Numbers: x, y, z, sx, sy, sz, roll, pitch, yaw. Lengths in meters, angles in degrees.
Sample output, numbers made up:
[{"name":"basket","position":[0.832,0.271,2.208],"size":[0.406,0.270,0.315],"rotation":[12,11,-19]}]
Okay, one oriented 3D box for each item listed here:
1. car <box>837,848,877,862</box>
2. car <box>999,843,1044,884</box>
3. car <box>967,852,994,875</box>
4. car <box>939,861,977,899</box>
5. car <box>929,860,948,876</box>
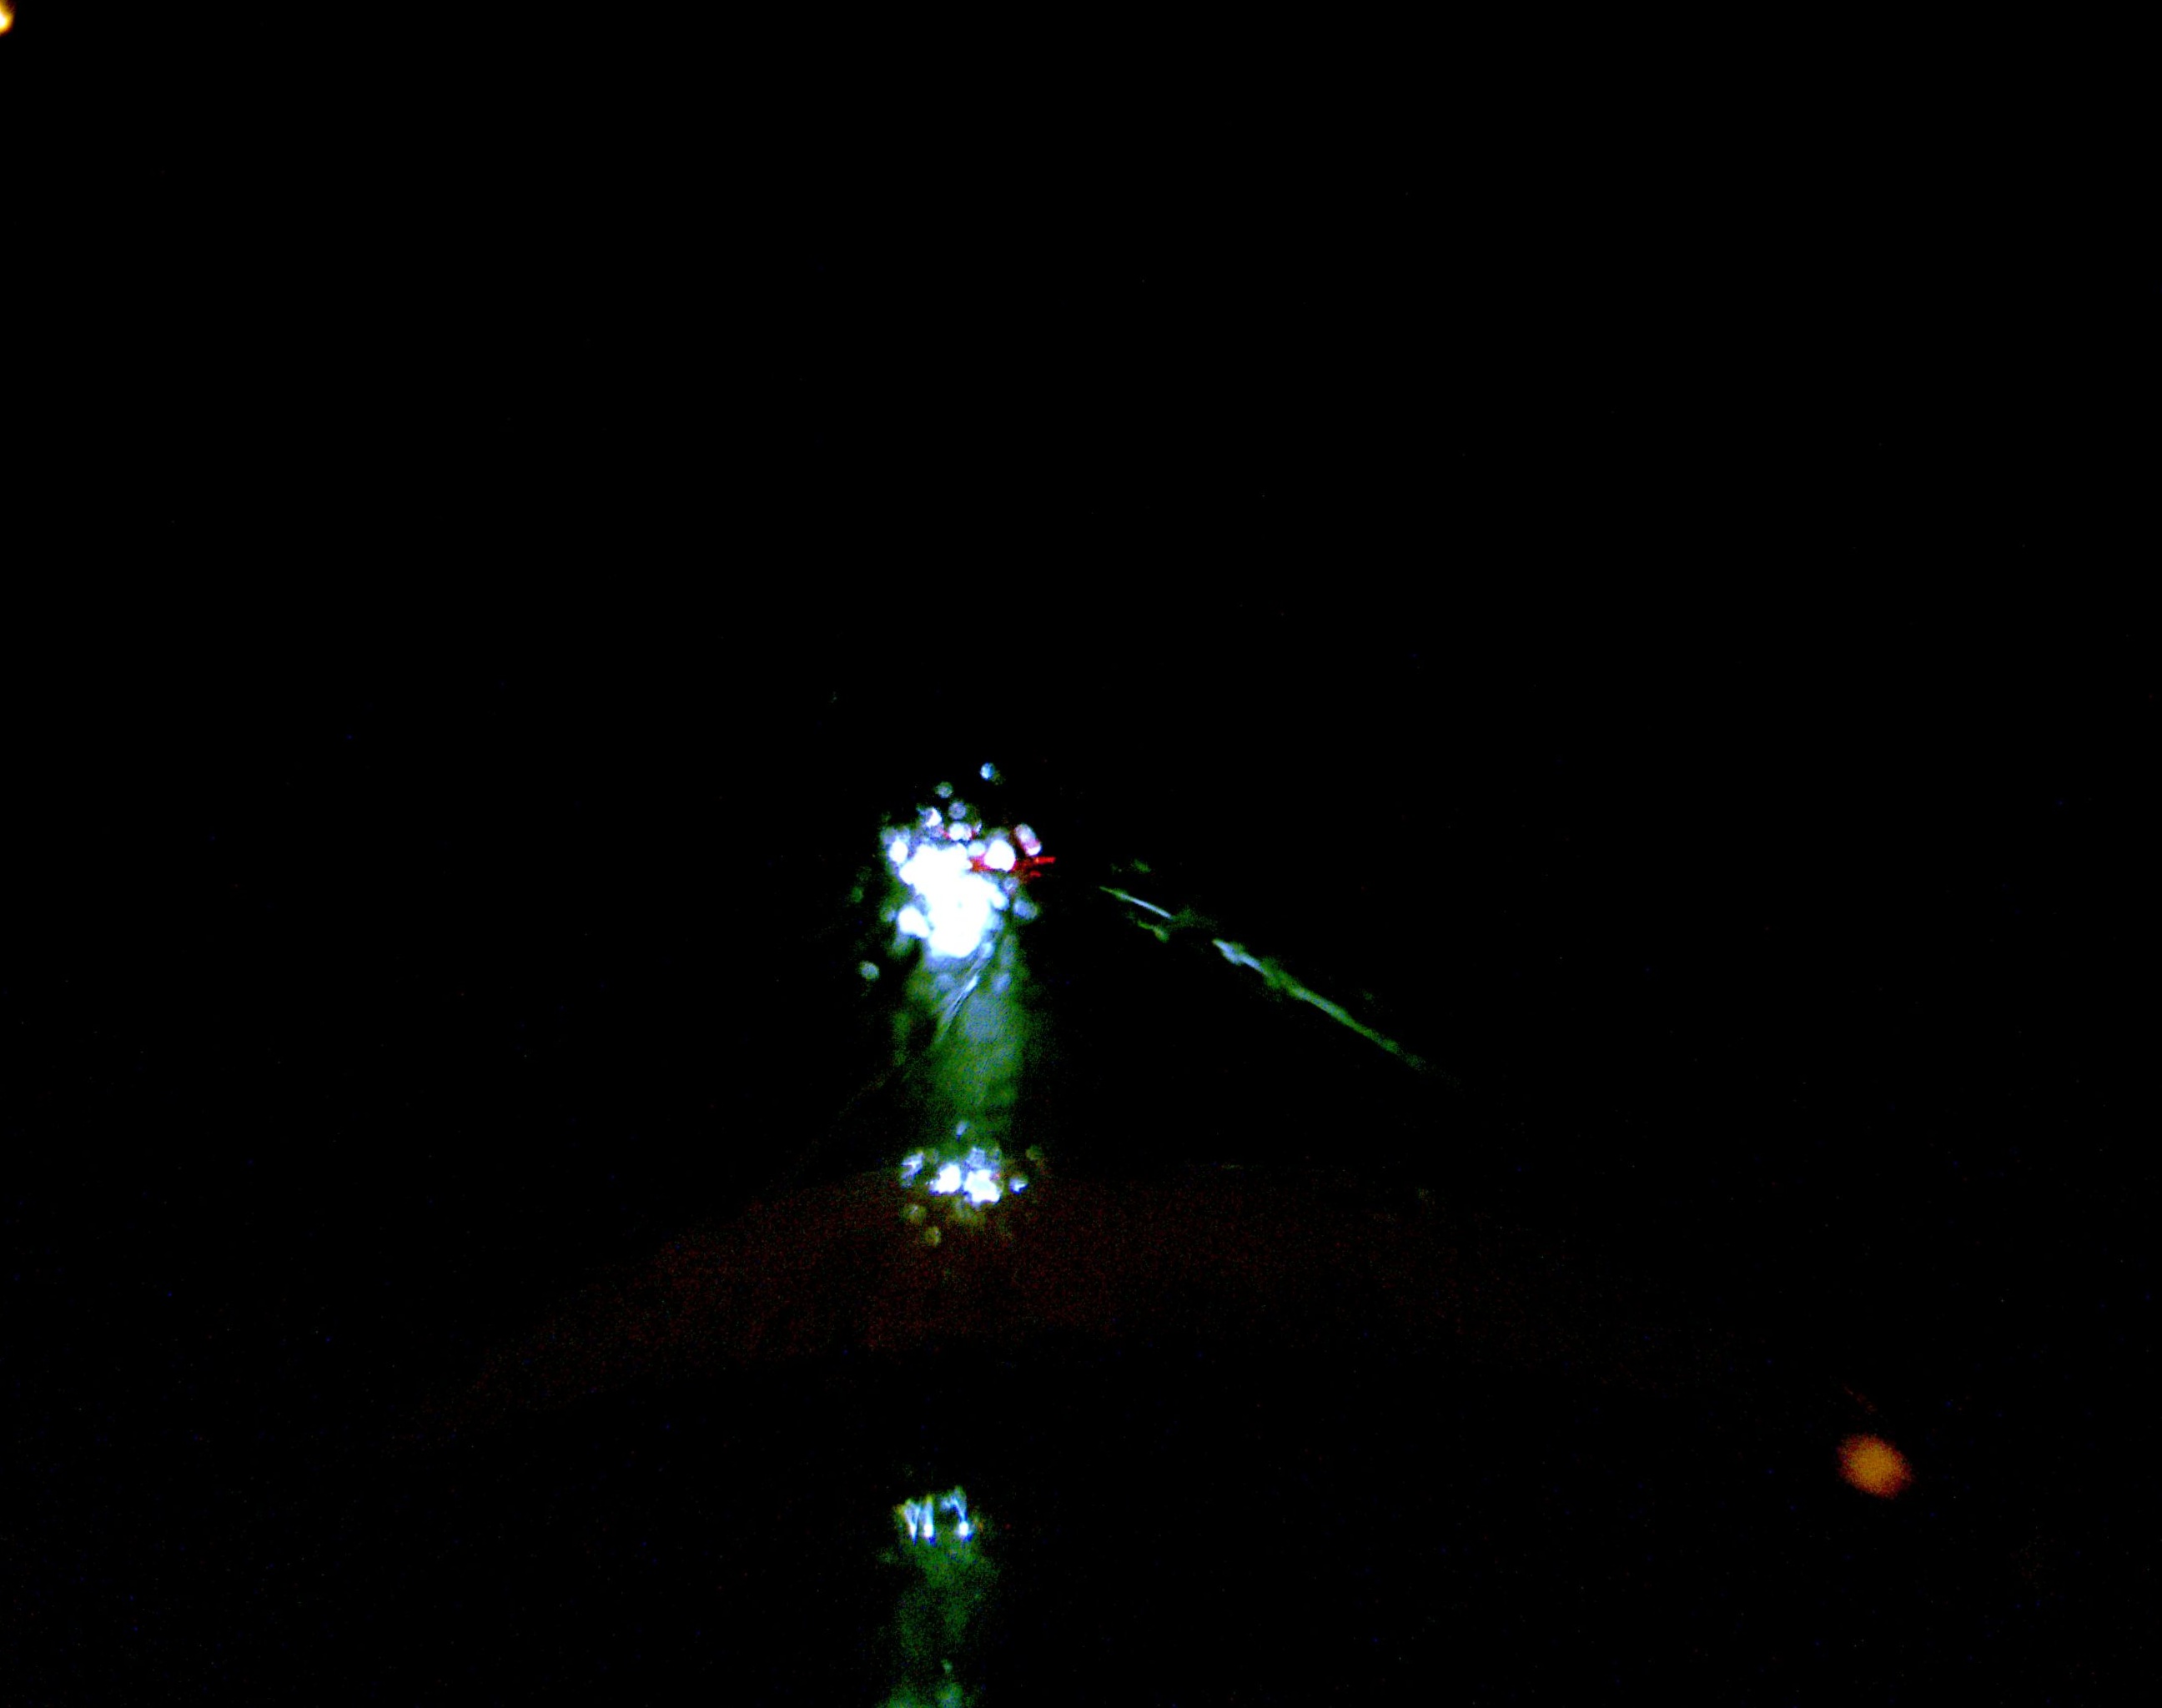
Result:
[{"name":"car","position":[-29.617,0.130,107.736],"size":[4.927,1.734,1.987],"rotation":[-1,0,-19]},{"name":"car","position":[-3.941,0.568,52.924],"size":[2.537,2.498,5.700],"rotation":[-1,1,-7]},{"name":"car","position":[-9.758,0.927,78.776],"size":[1.998,2.014,3.977],"rotation":[2,-3,-16]},{"name":"car","position":[-7.060,1.509,47.148],"size":[1.991,2.014,4.833],"rotation":[1,-2,-7]},{"name":"car","position":[-14.388,1.358,82.009],"size":[1.637,1.510,4.078],"rotation":[-2,0,-13]}]
